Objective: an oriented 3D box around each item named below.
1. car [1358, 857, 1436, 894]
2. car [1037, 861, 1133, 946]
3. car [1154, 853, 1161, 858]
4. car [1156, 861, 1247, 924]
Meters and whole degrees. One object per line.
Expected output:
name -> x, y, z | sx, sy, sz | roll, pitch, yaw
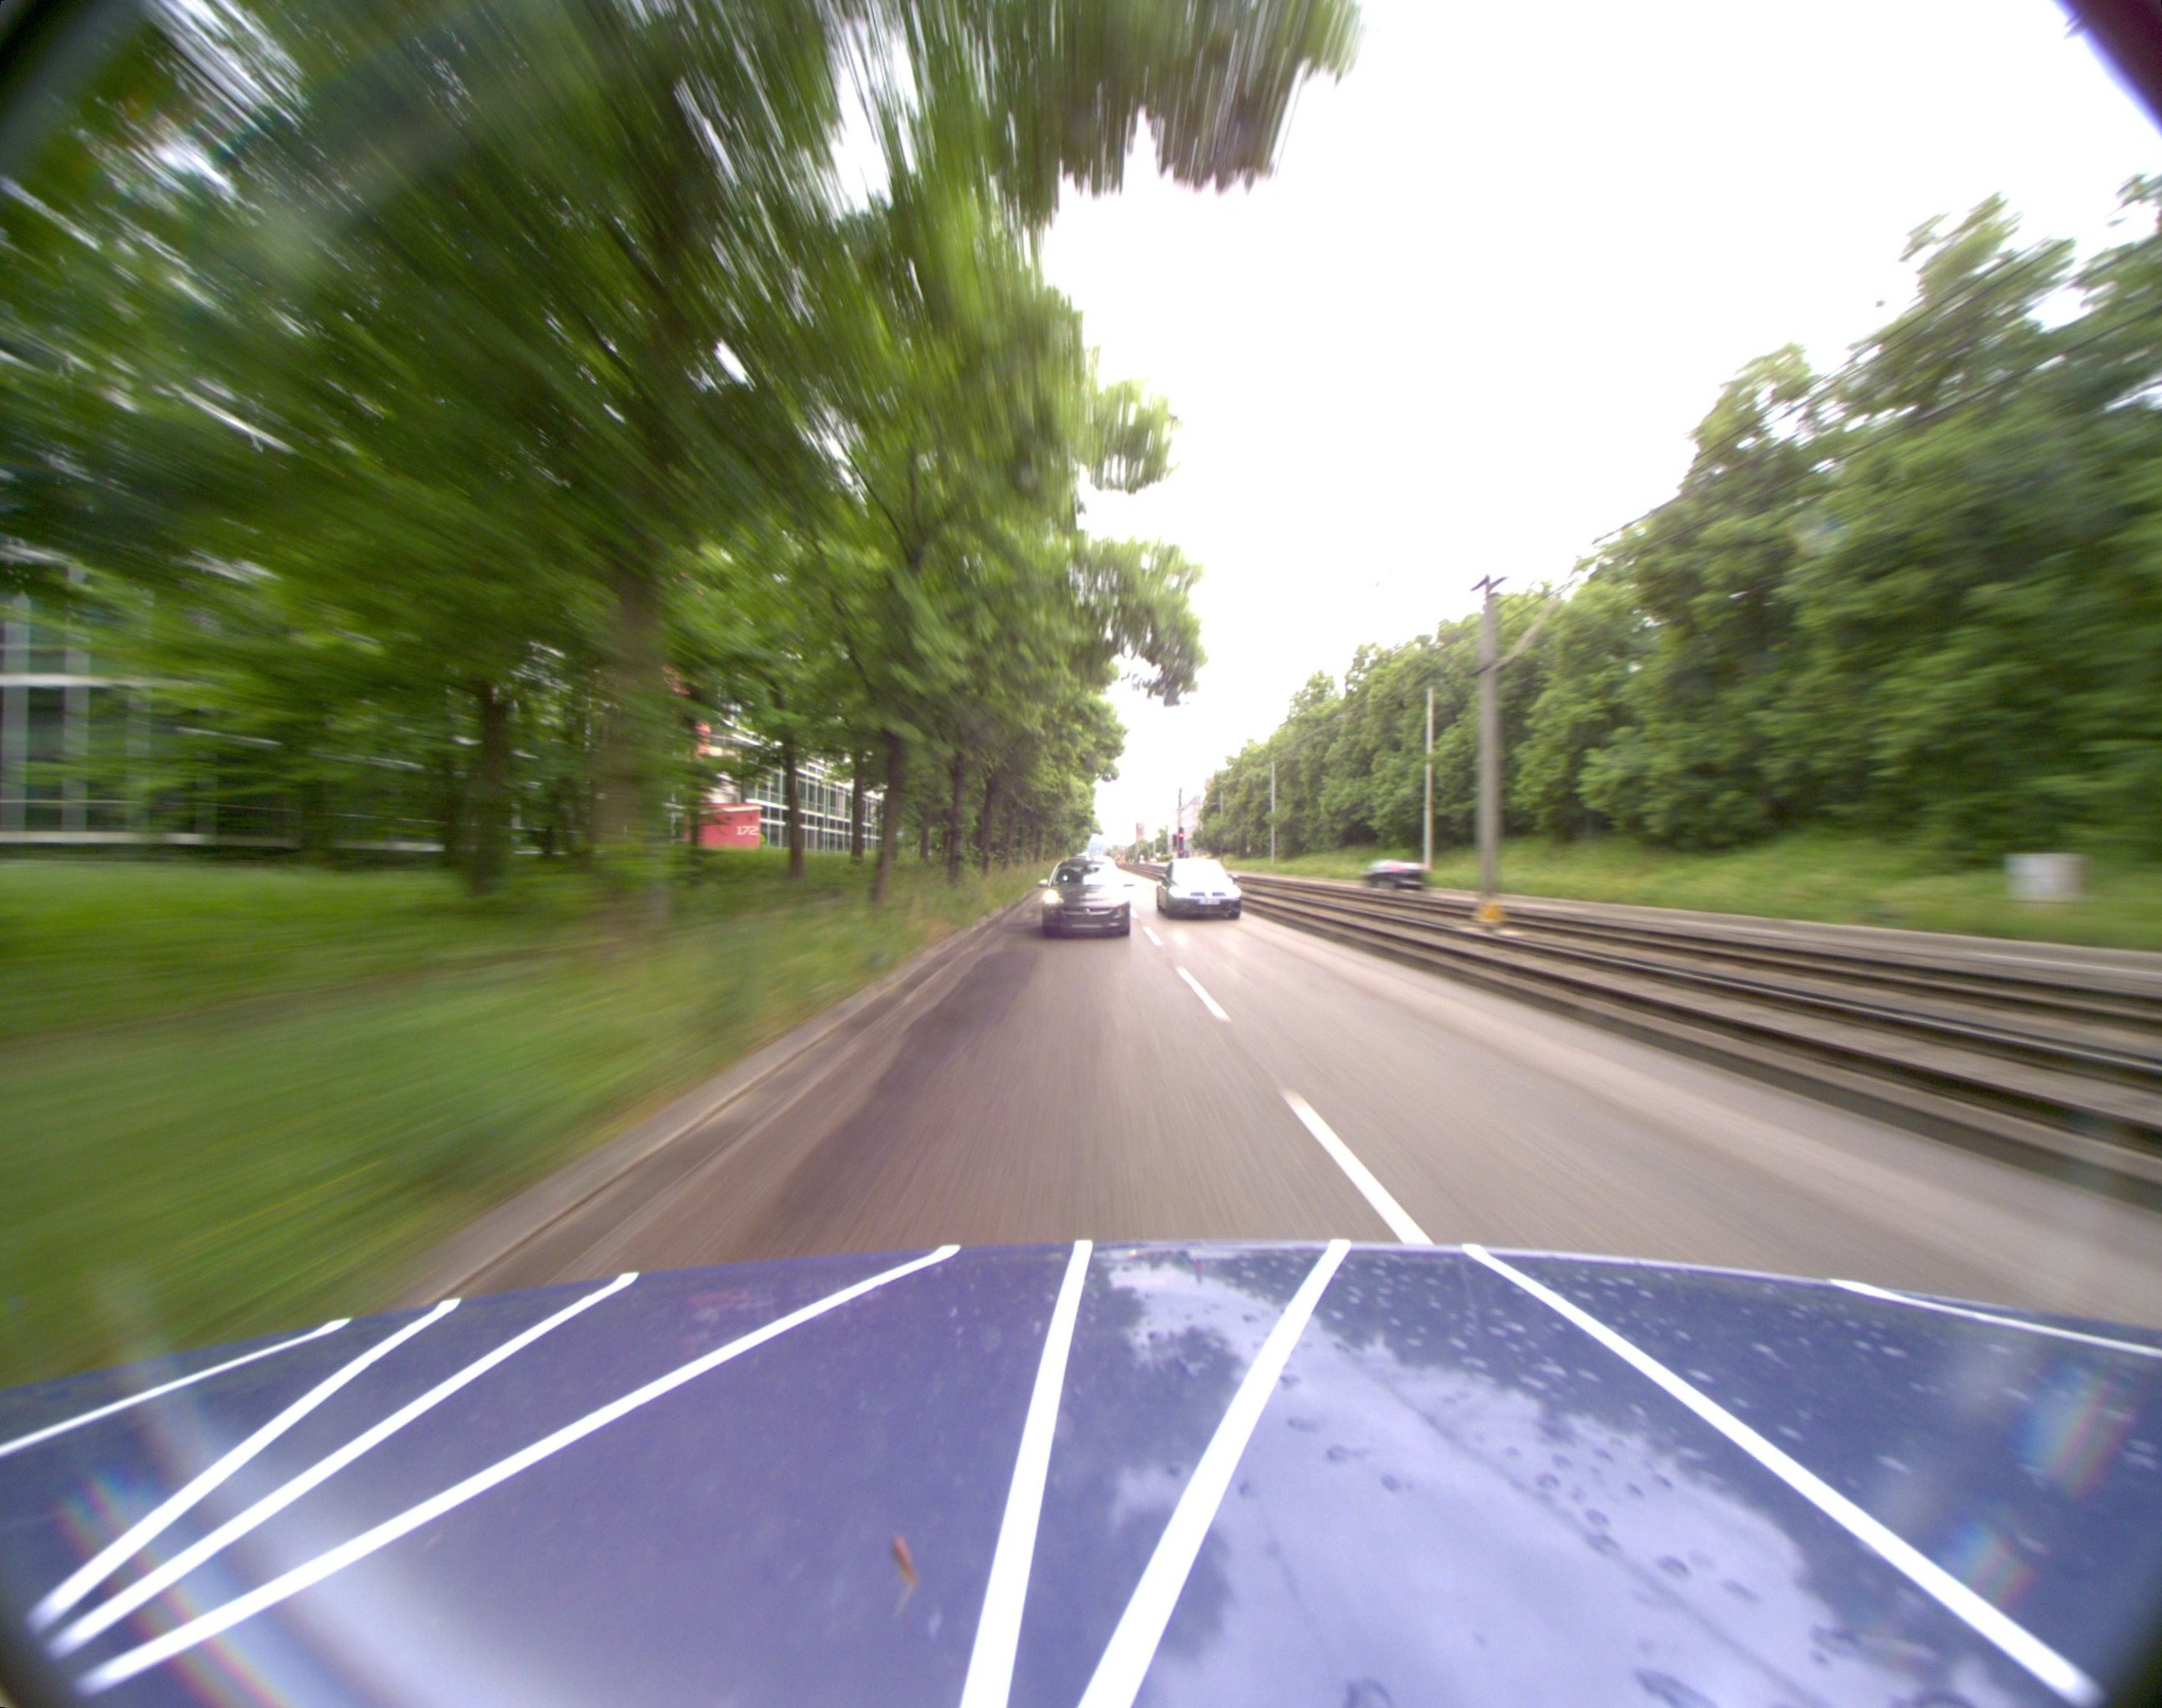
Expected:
car -> 13.746, 0.904, 33.318 | 1.674, 1.435, 4.026 | 2, 1, 0
car -> 0.125, 0.912, 16.018 | 1.698, 1.439, 4.420 | -2, 0, 1
car -> 20.262, 0.351, 201.554 | 1.480, 1.427, 3.909 | 2, 0, 1
car -> 3.008, 0.916, 19.711 | 1.770, 1.439, 3.833 | 0, 0, 0
